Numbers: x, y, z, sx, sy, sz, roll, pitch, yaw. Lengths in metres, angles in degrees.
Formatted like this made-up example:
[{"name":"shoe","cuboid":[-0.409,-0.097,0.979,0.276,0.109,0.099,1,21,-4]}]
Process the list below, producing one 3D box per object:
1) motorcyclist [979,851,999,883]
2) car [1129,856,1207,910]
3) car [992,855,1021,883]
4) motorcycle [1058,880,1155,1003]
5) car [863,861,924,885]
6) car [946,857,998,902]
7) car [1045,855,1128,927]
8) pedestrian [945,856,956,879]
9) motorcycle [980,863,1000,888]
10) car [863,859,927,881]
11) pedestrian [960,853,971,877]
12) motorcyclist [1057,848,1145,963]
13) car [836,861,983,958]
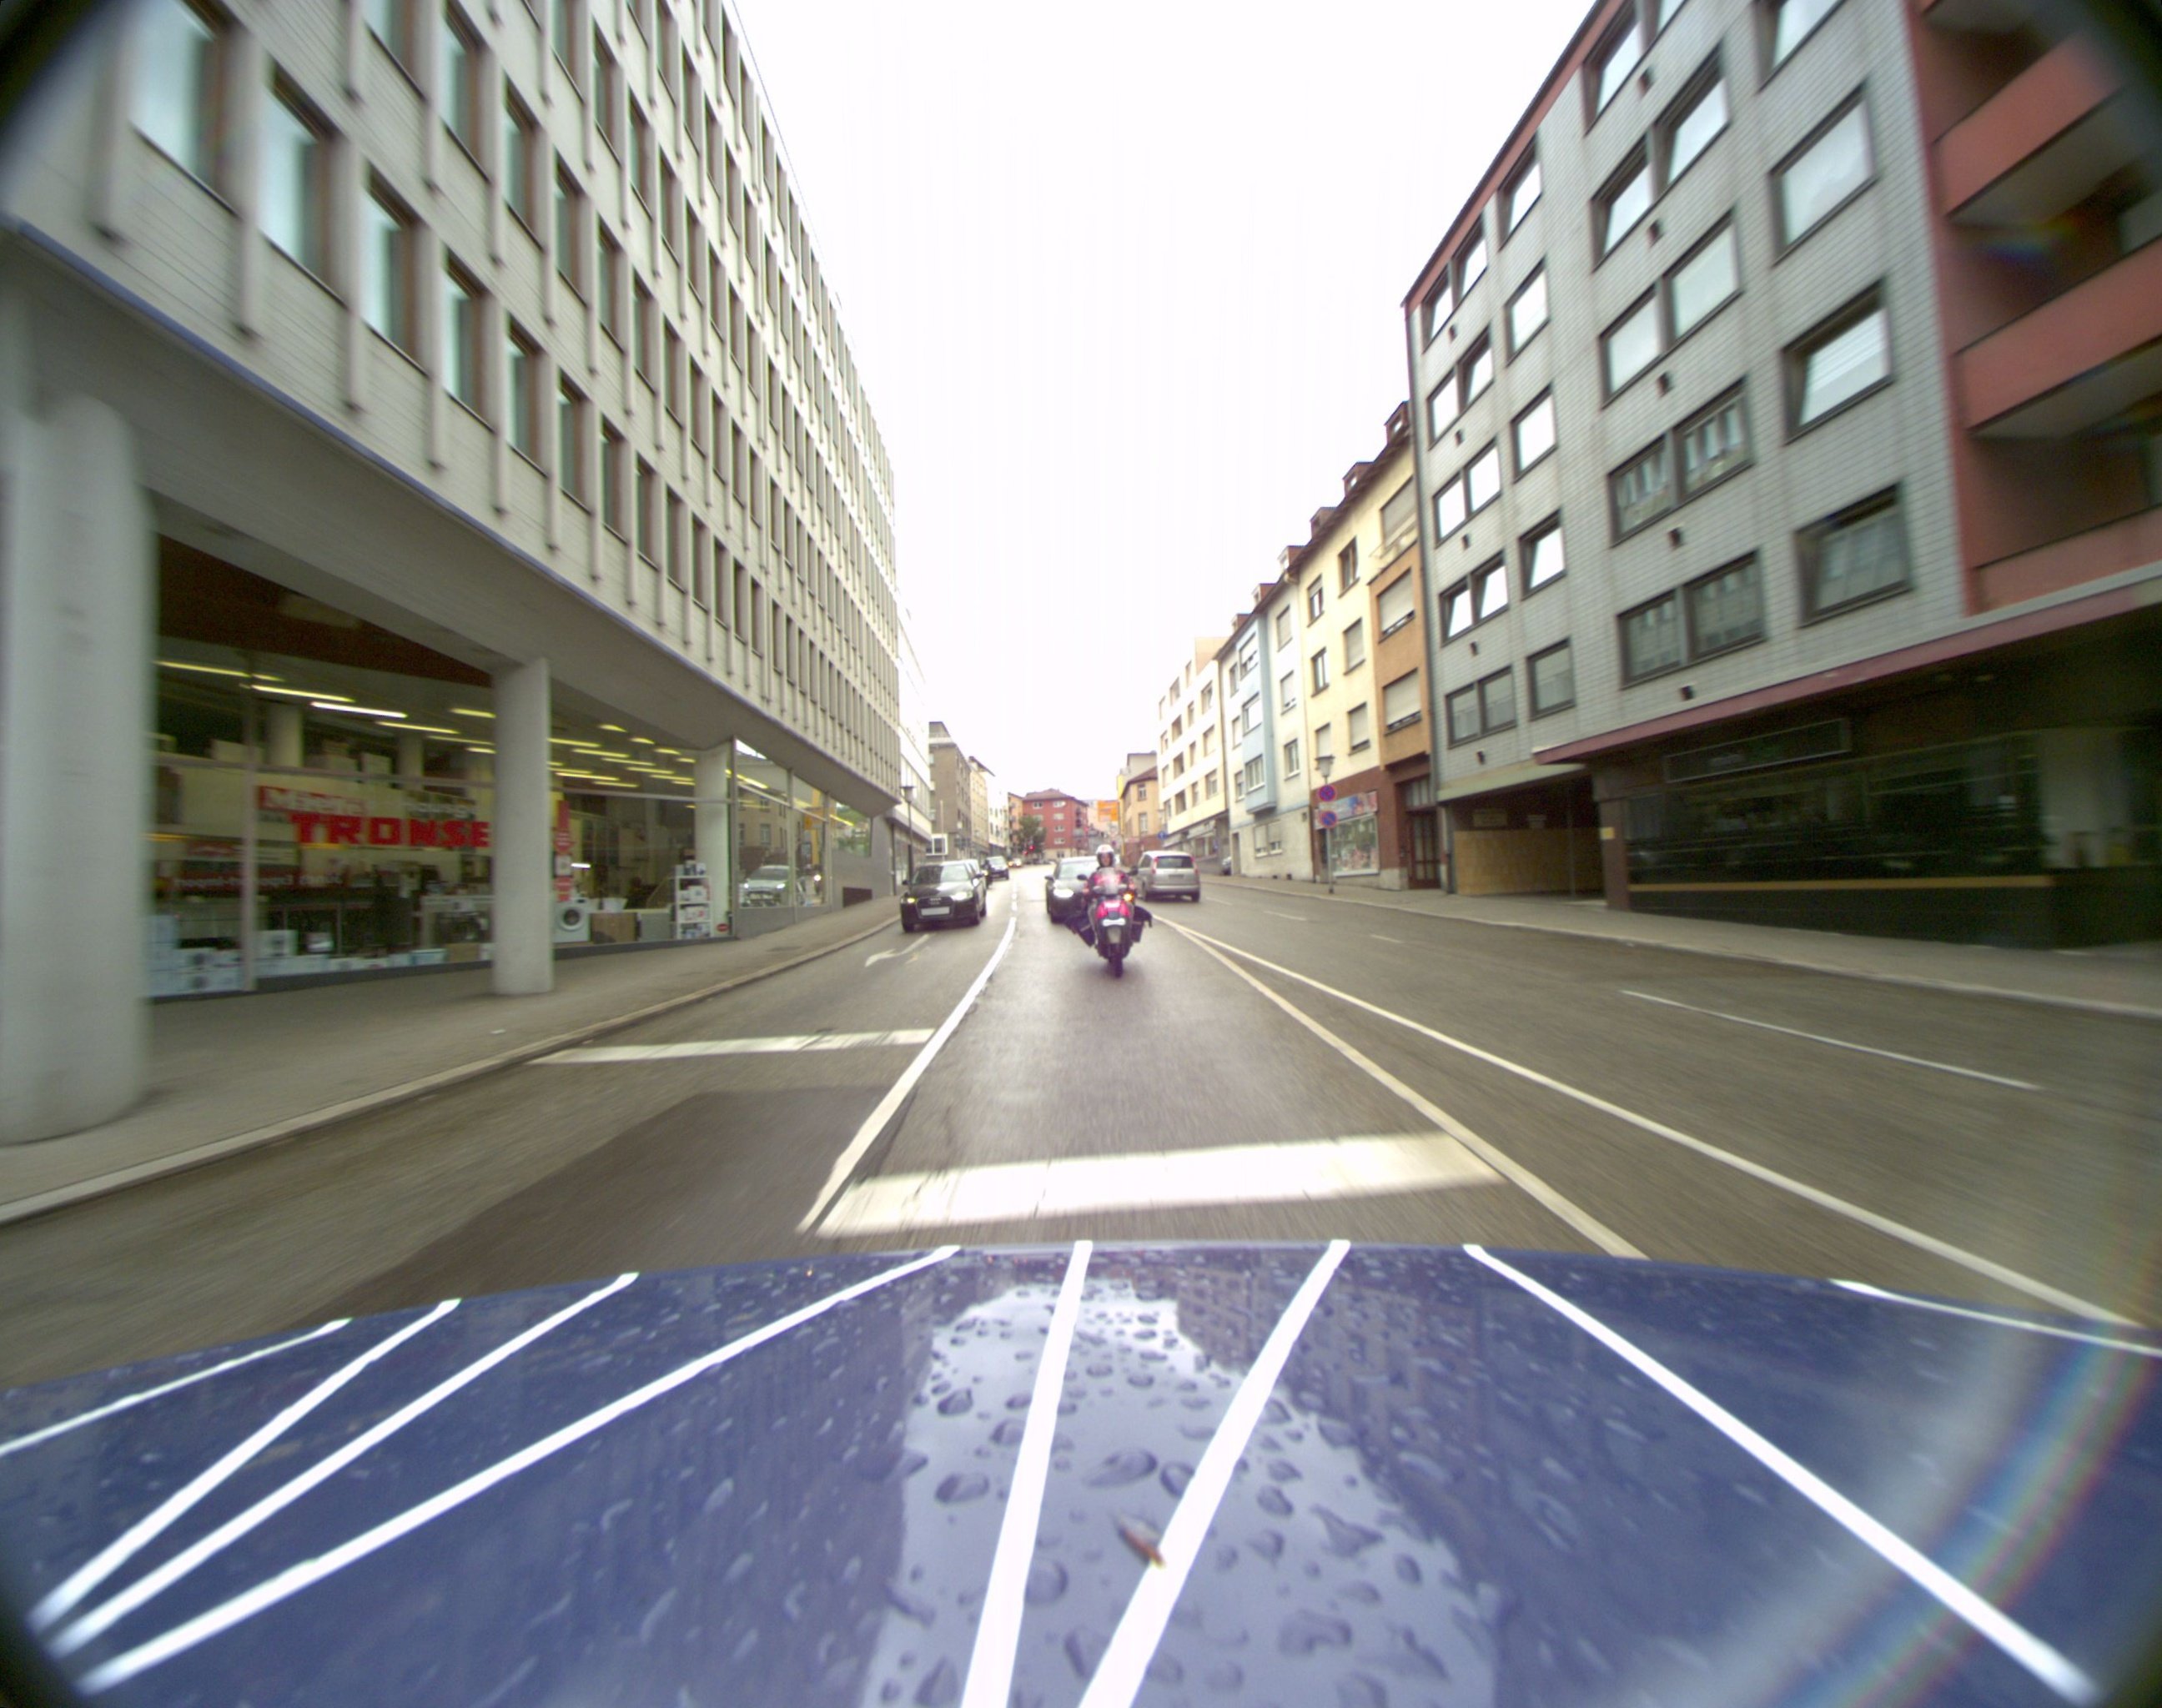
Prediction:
[{"name":"motorcyclist","cuboid":[-4.883,0.689,40.262,0.847,1.580,0.962,-5,1,-9]},{"name":"car","cuboid":[2.771,0.885,25.041,1.740,1.583,4.173,0,1,-5]},{"name":"car","cuboid":[-5.357,1.029,54.413,1.849,1.892,3.762,-3,0,-8]},{"name":"motorcycle","cuboid":[0.245,1.032,9.882,1.011,1.219,2.693,-3,1,-2]},{"name":"car","cuboid":[-13.447,1.345,54.397,4.003,1.521,1.760,-2,0,-20]},{"name":"car","cuboid":[-4.518,1.004,31.665,1.832,1.532,4.249,-6,0,-8]},{"name":"car","cuboid":[0.019,0.815,18.881,1.706,1.451,4.317,-5,0,-3]},{"name":"pedestrian","cuboid":[-9.133,0.939,53.193,0.768,1.542,0.890,0,1,-7]},{"name":"motorcycle","cuboid":[-4.847,1.111,40.254,0.847,1.219,2.371,-5,1,-9]},{"name":"car","cuboid":[-12.632,1.075,51.580,4.004,1.441,1.796,1,-1,-21]},{"name":"pedestrian","cuboid":[-8.308,0.810,54.640,0.786,1.696,1.120,0,1,-7]},{"name":"motorcyclist","cuboid":[0.231,0.636,9.816,1.011,1.373,0.834,-3,1,-2]},{"name":"car","cuboid":[-3.454,1.051,16.192,1.827,1.551,4.202,-5,1,4]}]
